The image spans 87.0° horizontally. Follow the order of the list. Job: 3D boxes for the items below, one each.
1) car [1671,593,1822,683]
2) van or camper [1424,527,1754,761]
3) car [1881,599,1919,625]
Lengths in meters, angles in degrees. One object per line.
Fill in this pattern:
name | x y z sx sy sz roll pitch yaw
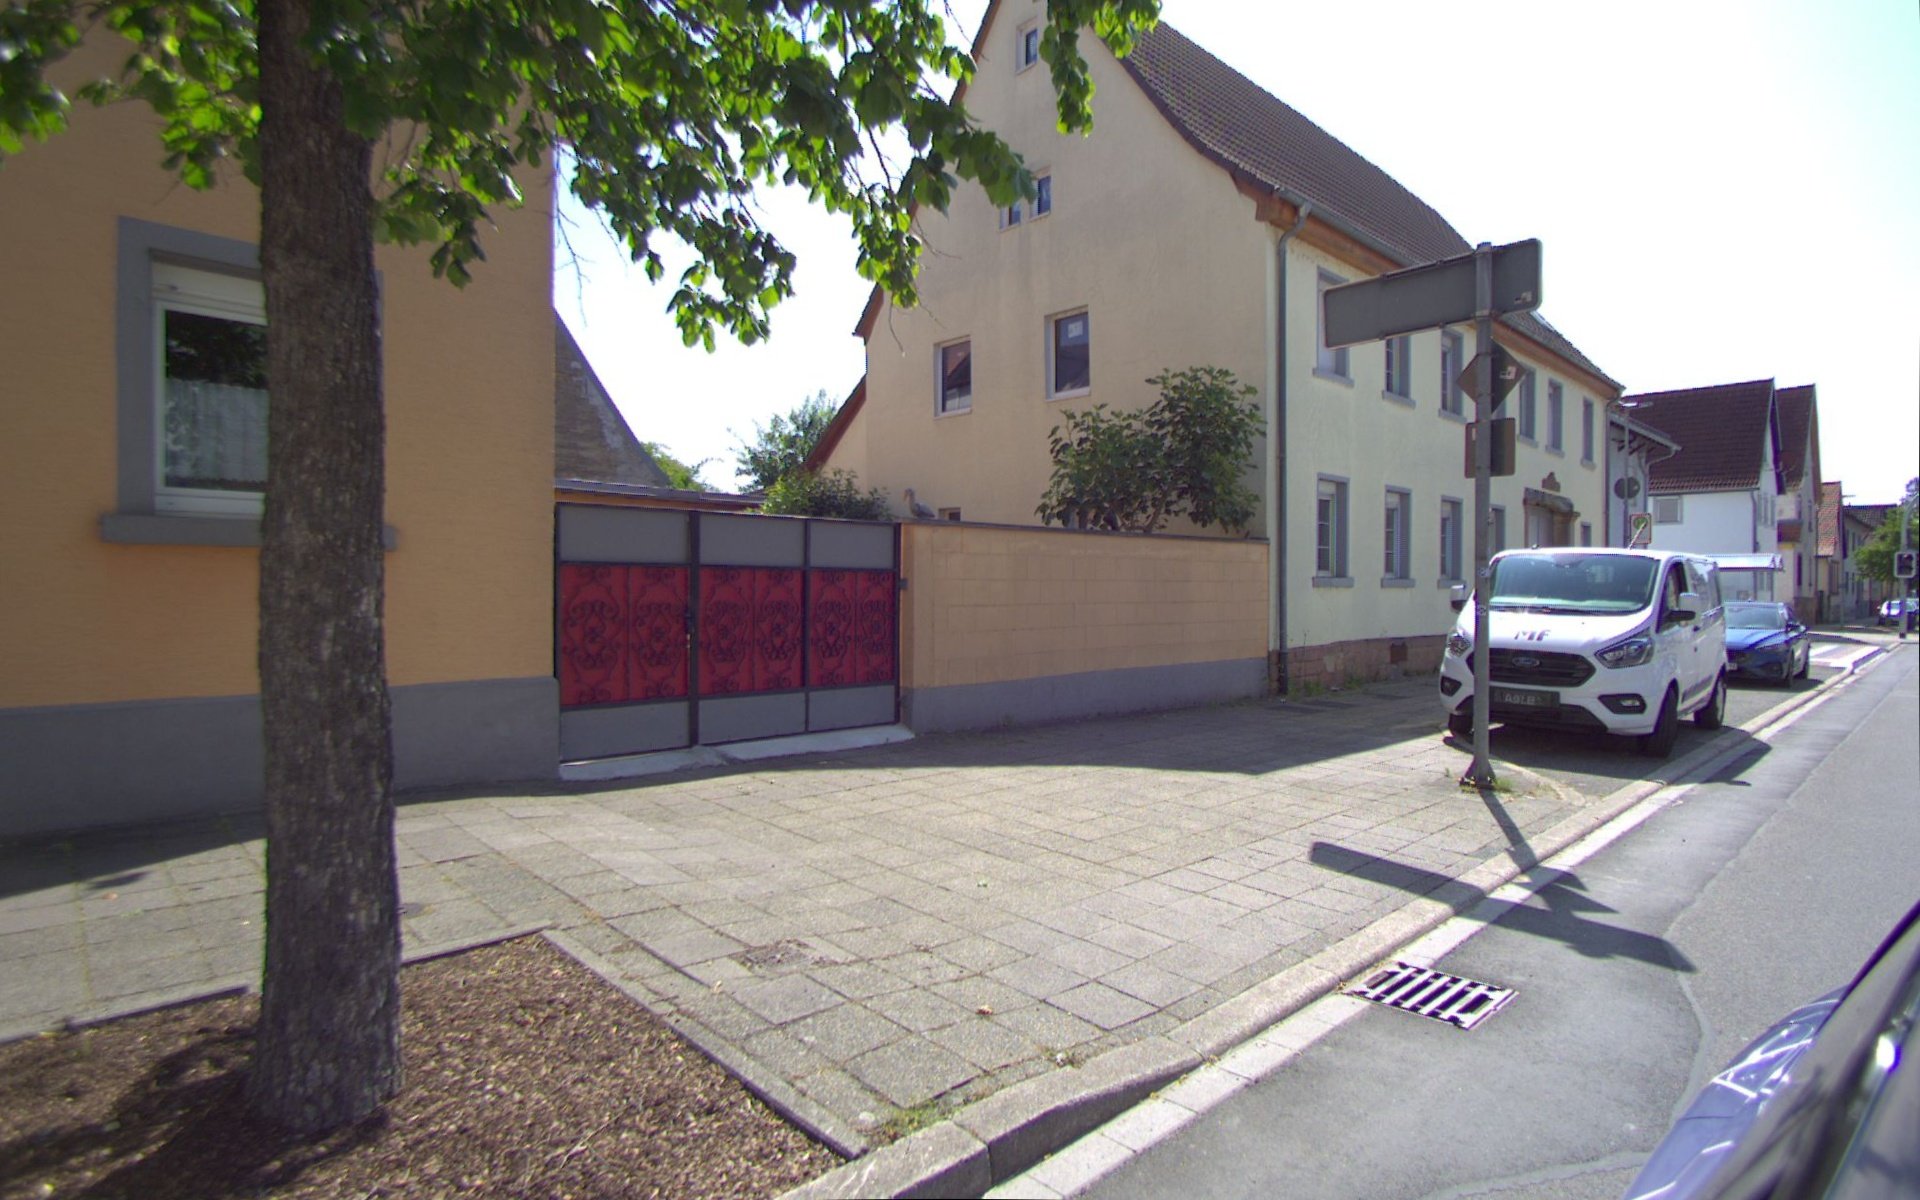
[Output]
car | 14.280 0.599 18.295 1.729 1.445 3.922 1 1 45
van or camper | 7.111 0.344 11.139 1.994 1.978 5.260 1 1 44
car | 55.968 0.675 59.920 1.994 1.505 3.936 0 0 45
